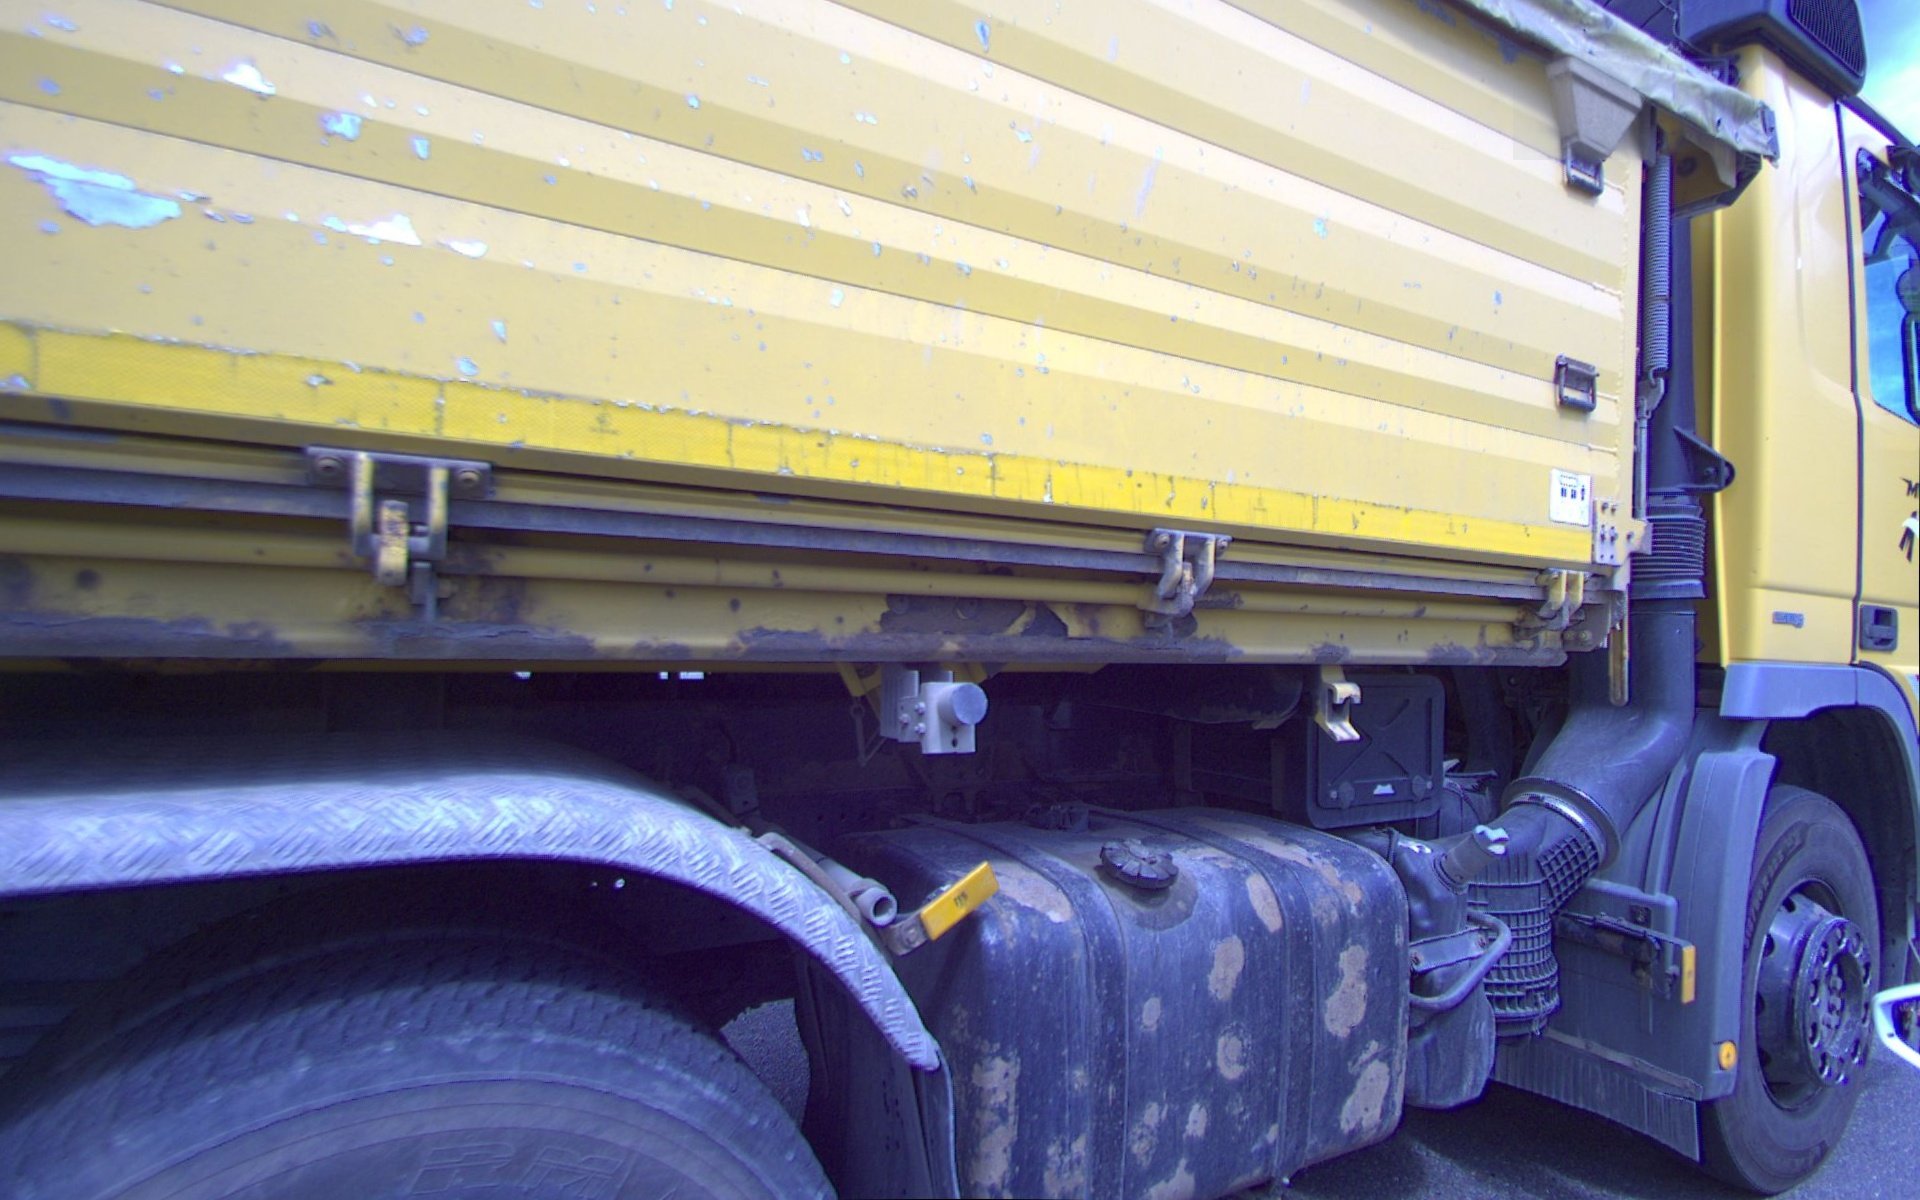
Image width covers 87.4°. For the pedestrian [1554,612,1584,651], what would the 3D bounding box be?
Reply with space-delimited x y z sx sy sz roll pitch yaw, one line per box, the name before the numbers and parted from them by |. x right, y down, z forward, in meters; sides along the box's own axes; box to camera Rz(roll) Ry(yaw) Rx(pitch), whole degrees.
pedestrian | 24.814 1.283 40.914 0.628 1.536 0.827 1 0 -30

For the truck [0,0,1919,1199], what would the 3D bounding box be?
truck | -0.474 -0.253 2.399 7.916 3.439 3.033 1 0 -32
